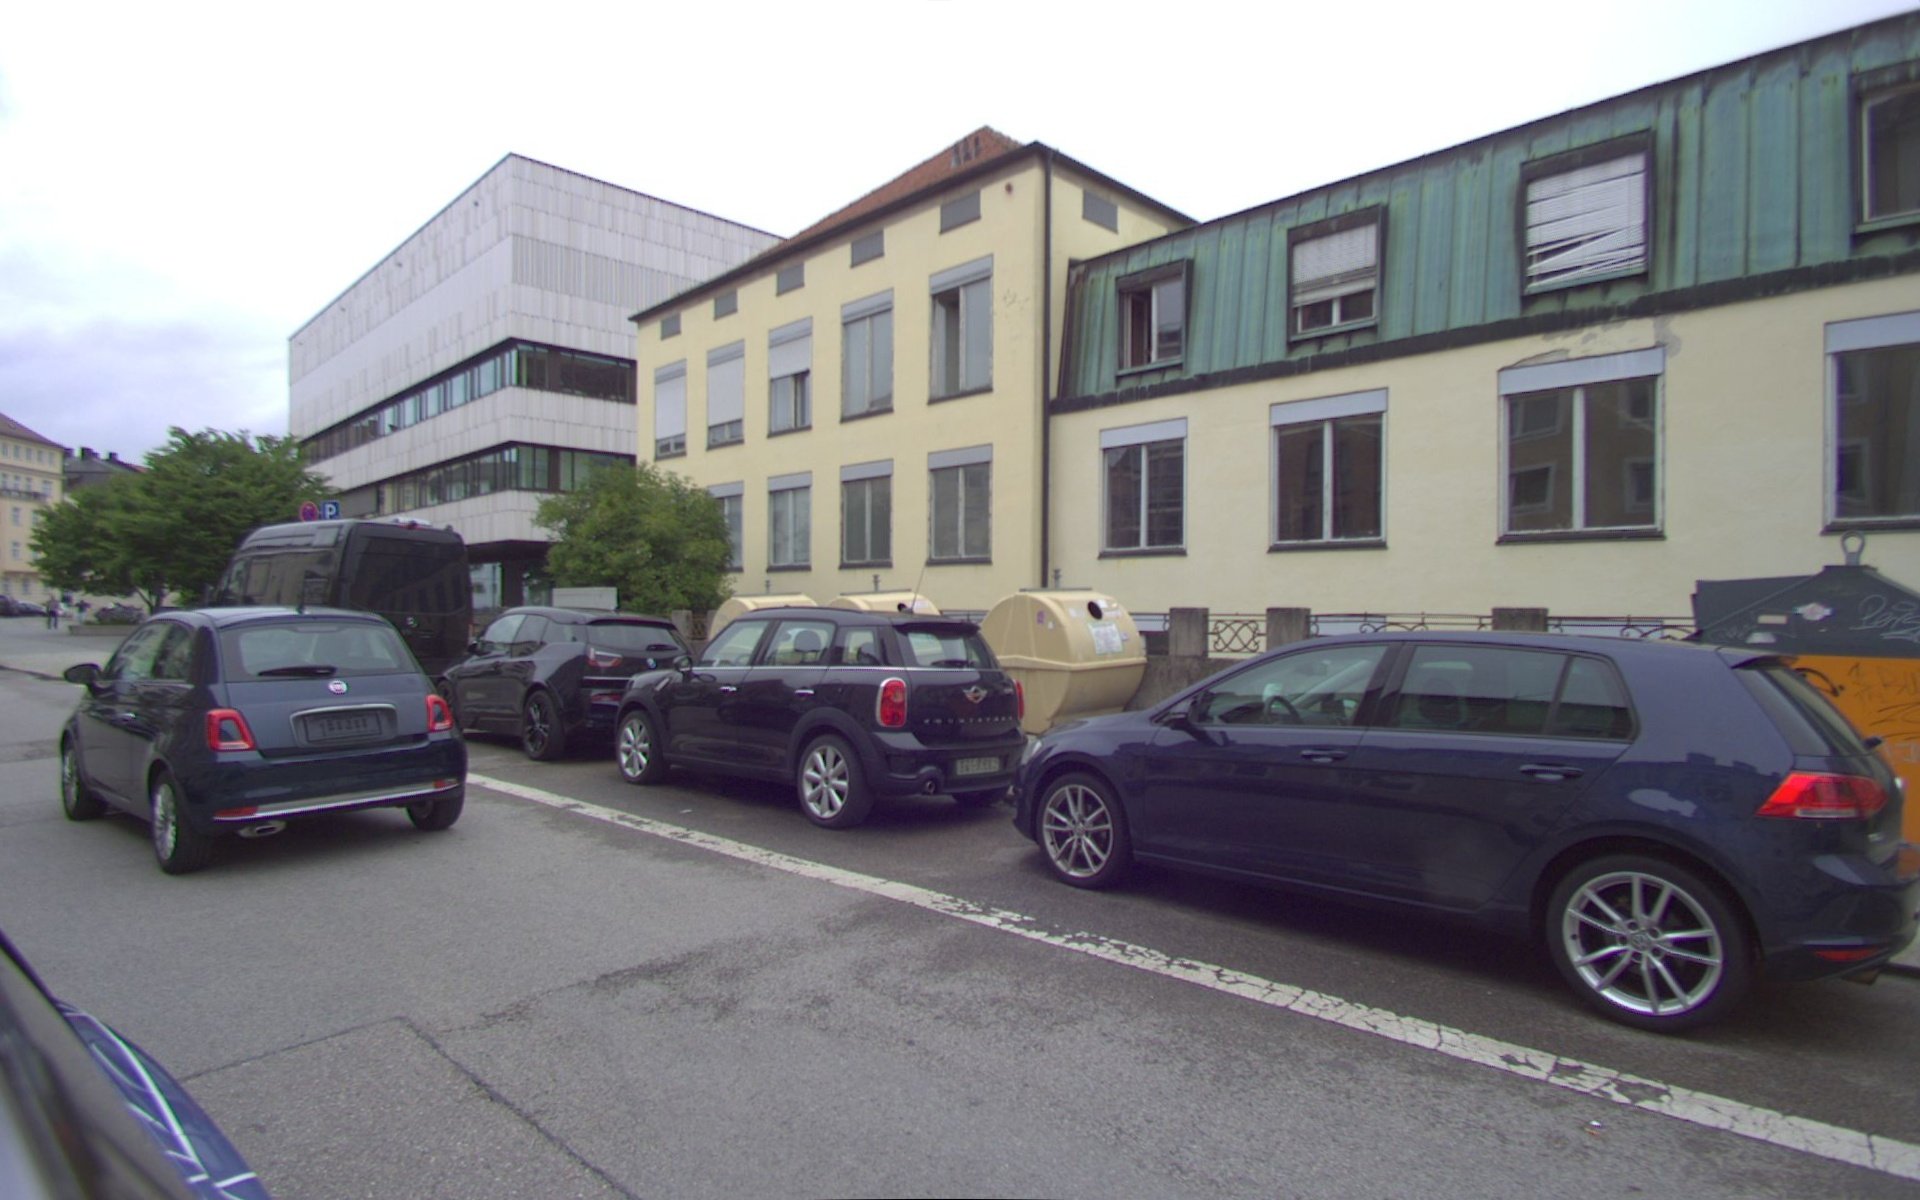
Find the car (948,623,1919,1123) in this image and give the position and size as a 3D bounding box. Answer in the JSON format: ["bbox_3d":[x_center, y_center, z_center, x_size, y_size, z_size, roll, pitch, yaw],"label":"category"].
[{"bbox_3d":[2.204,0.910,5.119,1.891,1.493,4.534,5,-5,-44],"label":"car"}]

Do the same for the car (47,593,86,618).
[{"bbox_3d":[-88.918,0.565,100.807,1.861,2.374,4.013,1,-1,-26],"label":"car"}]

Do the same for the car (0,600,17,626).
[{"bbox_3d":[-76.147,1.044,80.064,1.863,2.029,4.009,1,-1,-37],"label":"car"}]

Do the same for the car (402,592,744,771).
[{"bbox_3d":[-4.529,0.833,11.498,4.349,1.649,1.859,-1,-4,43],"label":"car"}]

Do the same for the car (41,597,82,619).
[{"bbox_3d":[-85.249,0.777,96.074,1.861,2.029,4.013,1,-1,-26],"label":"car"}]

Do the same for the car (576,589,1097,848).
[{"bbox_3d":[-1.210,0.850,8.447,4.351,1.599,1.893,-2,-6,42],"label":"car"}]

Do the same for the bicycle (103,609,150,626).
[{"bbox_3d":[-51.430,1.057,62.475,0.795,0.999,2.125,-1,0,28],"label":"bicycle"}]

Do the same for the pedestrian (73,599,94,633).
[{"bbox_3d":[-47.954,0.875,55.392,0.516,1.799,0.778,0,-1,38],"label":"pedestrian"}]

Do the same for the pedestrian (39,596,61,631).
[{"bbox_3d":[-47.638,0.700,52.988,0.516,1.799,0.778,0,-1,38],"label":"pedestrian"}]

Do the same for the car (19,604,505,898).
[{"bbox_3d":[-4.881,0.787,6.924,3.702,1.486,1.645,0,-2,37],"label":"car"}]

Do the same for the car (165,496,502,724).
[{"bbox_3d":[-9.753,0.194,15.506,6.187,2.875,2.192,0,-4,37],"label":"car"}]
